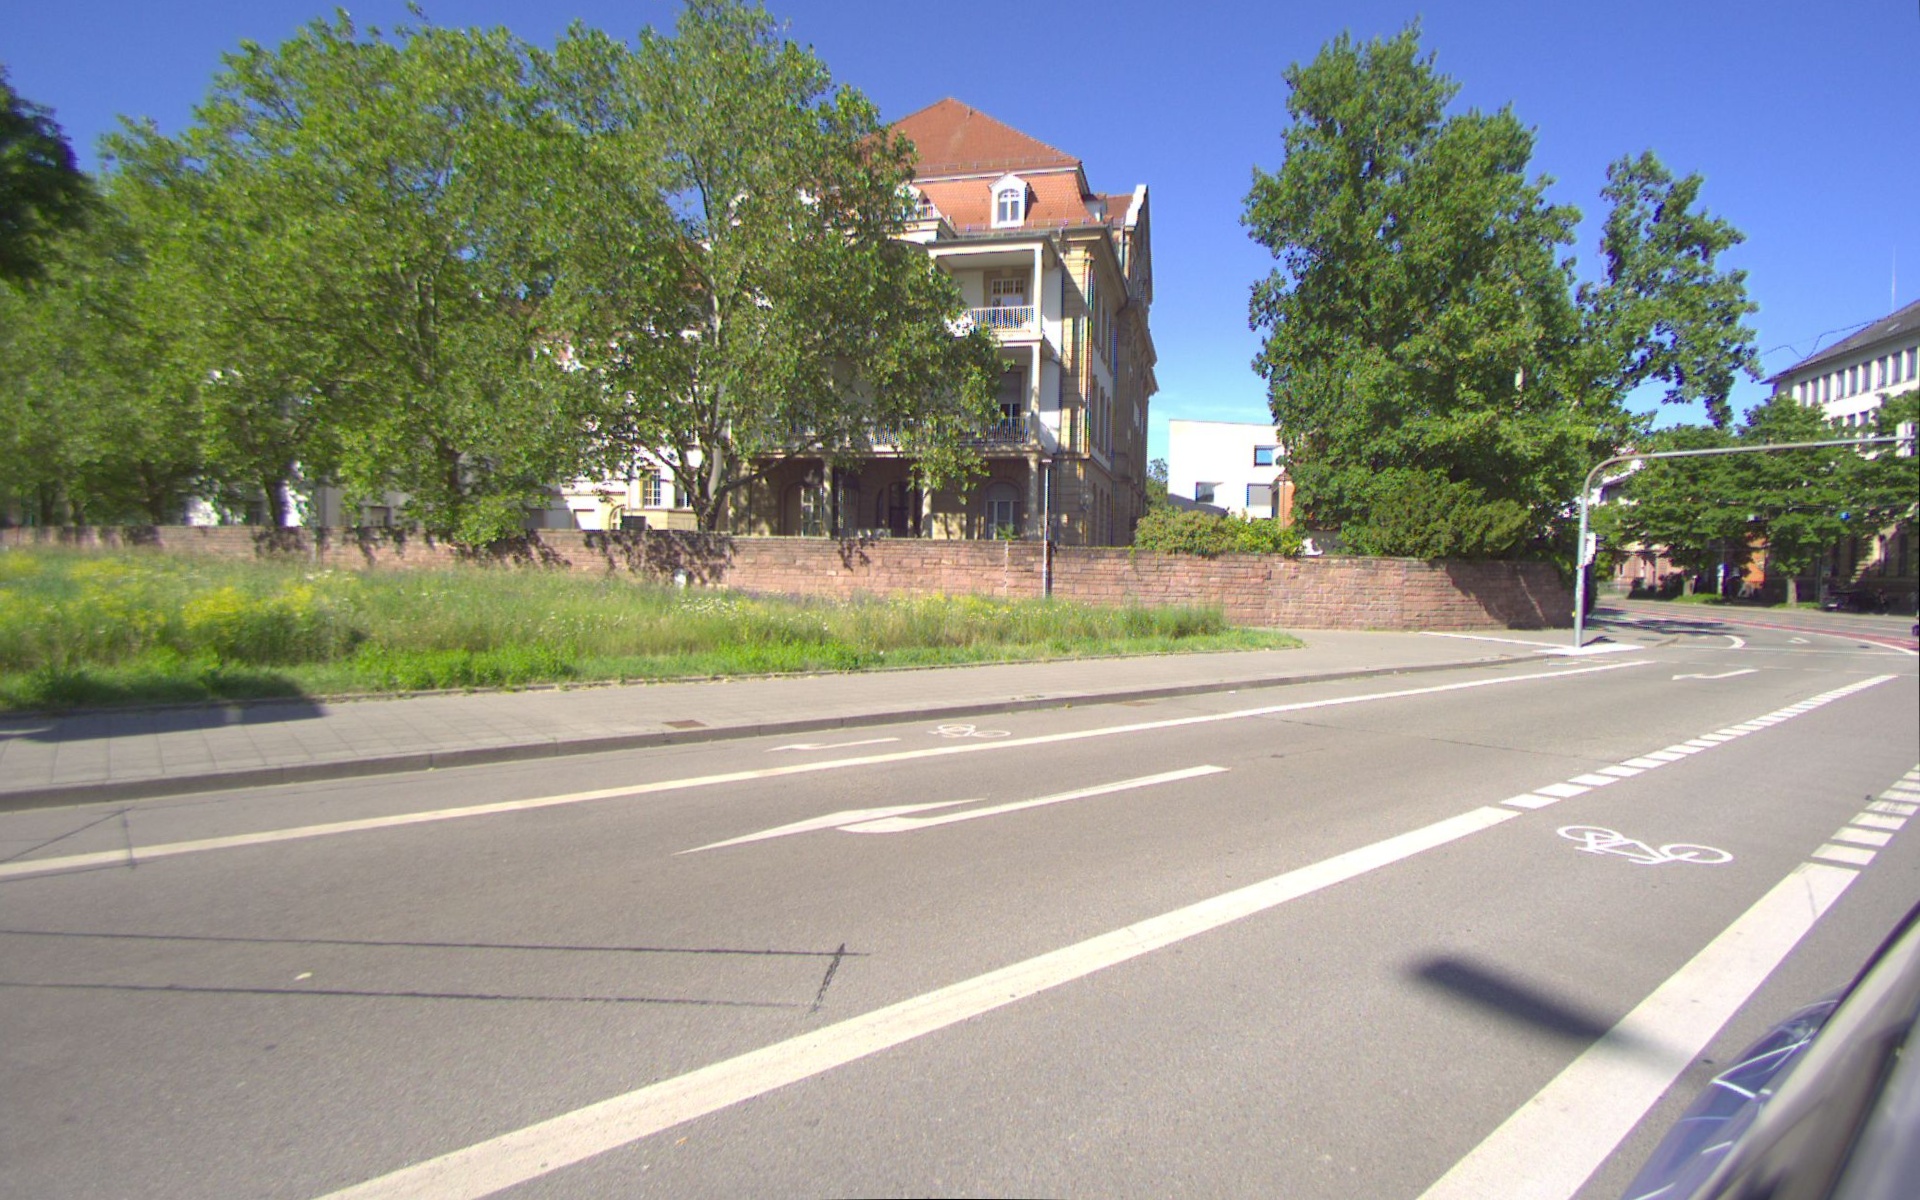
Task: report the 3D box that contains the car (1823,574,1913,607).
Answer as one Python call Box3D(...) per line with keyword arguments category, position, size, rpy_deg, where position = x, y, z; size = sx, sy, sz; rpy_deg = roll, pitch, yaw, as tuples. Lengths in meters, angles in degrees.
Box3D(category="car", position=(61.208, -0.645, 68.246), size=(4.615, 2.038, 2.004), rpy_deg=(1, 2, -9))

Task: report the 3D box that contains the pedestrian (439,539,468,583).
Box3D(category="pedestrian", position=(-17.155, -1.320, 34.263), size=(0.516, 1.461, 0.721), rpy_deg=(0, 0, 20))

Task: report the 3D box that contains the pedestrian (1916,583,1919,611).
Box3D(category="pedestrian", position=(62.200, -0.198, 65.197), size=(0.670, 1.745, 0.584), rpy_deg=(1, 3, 27))

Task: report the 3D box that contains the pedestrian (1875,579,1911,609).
Box3D(category="pedestrian", position=(59.749, -0.411, 64.827), size=(1.366, 1.844, 0.937), rpy_deg=(1, 1, 4))
